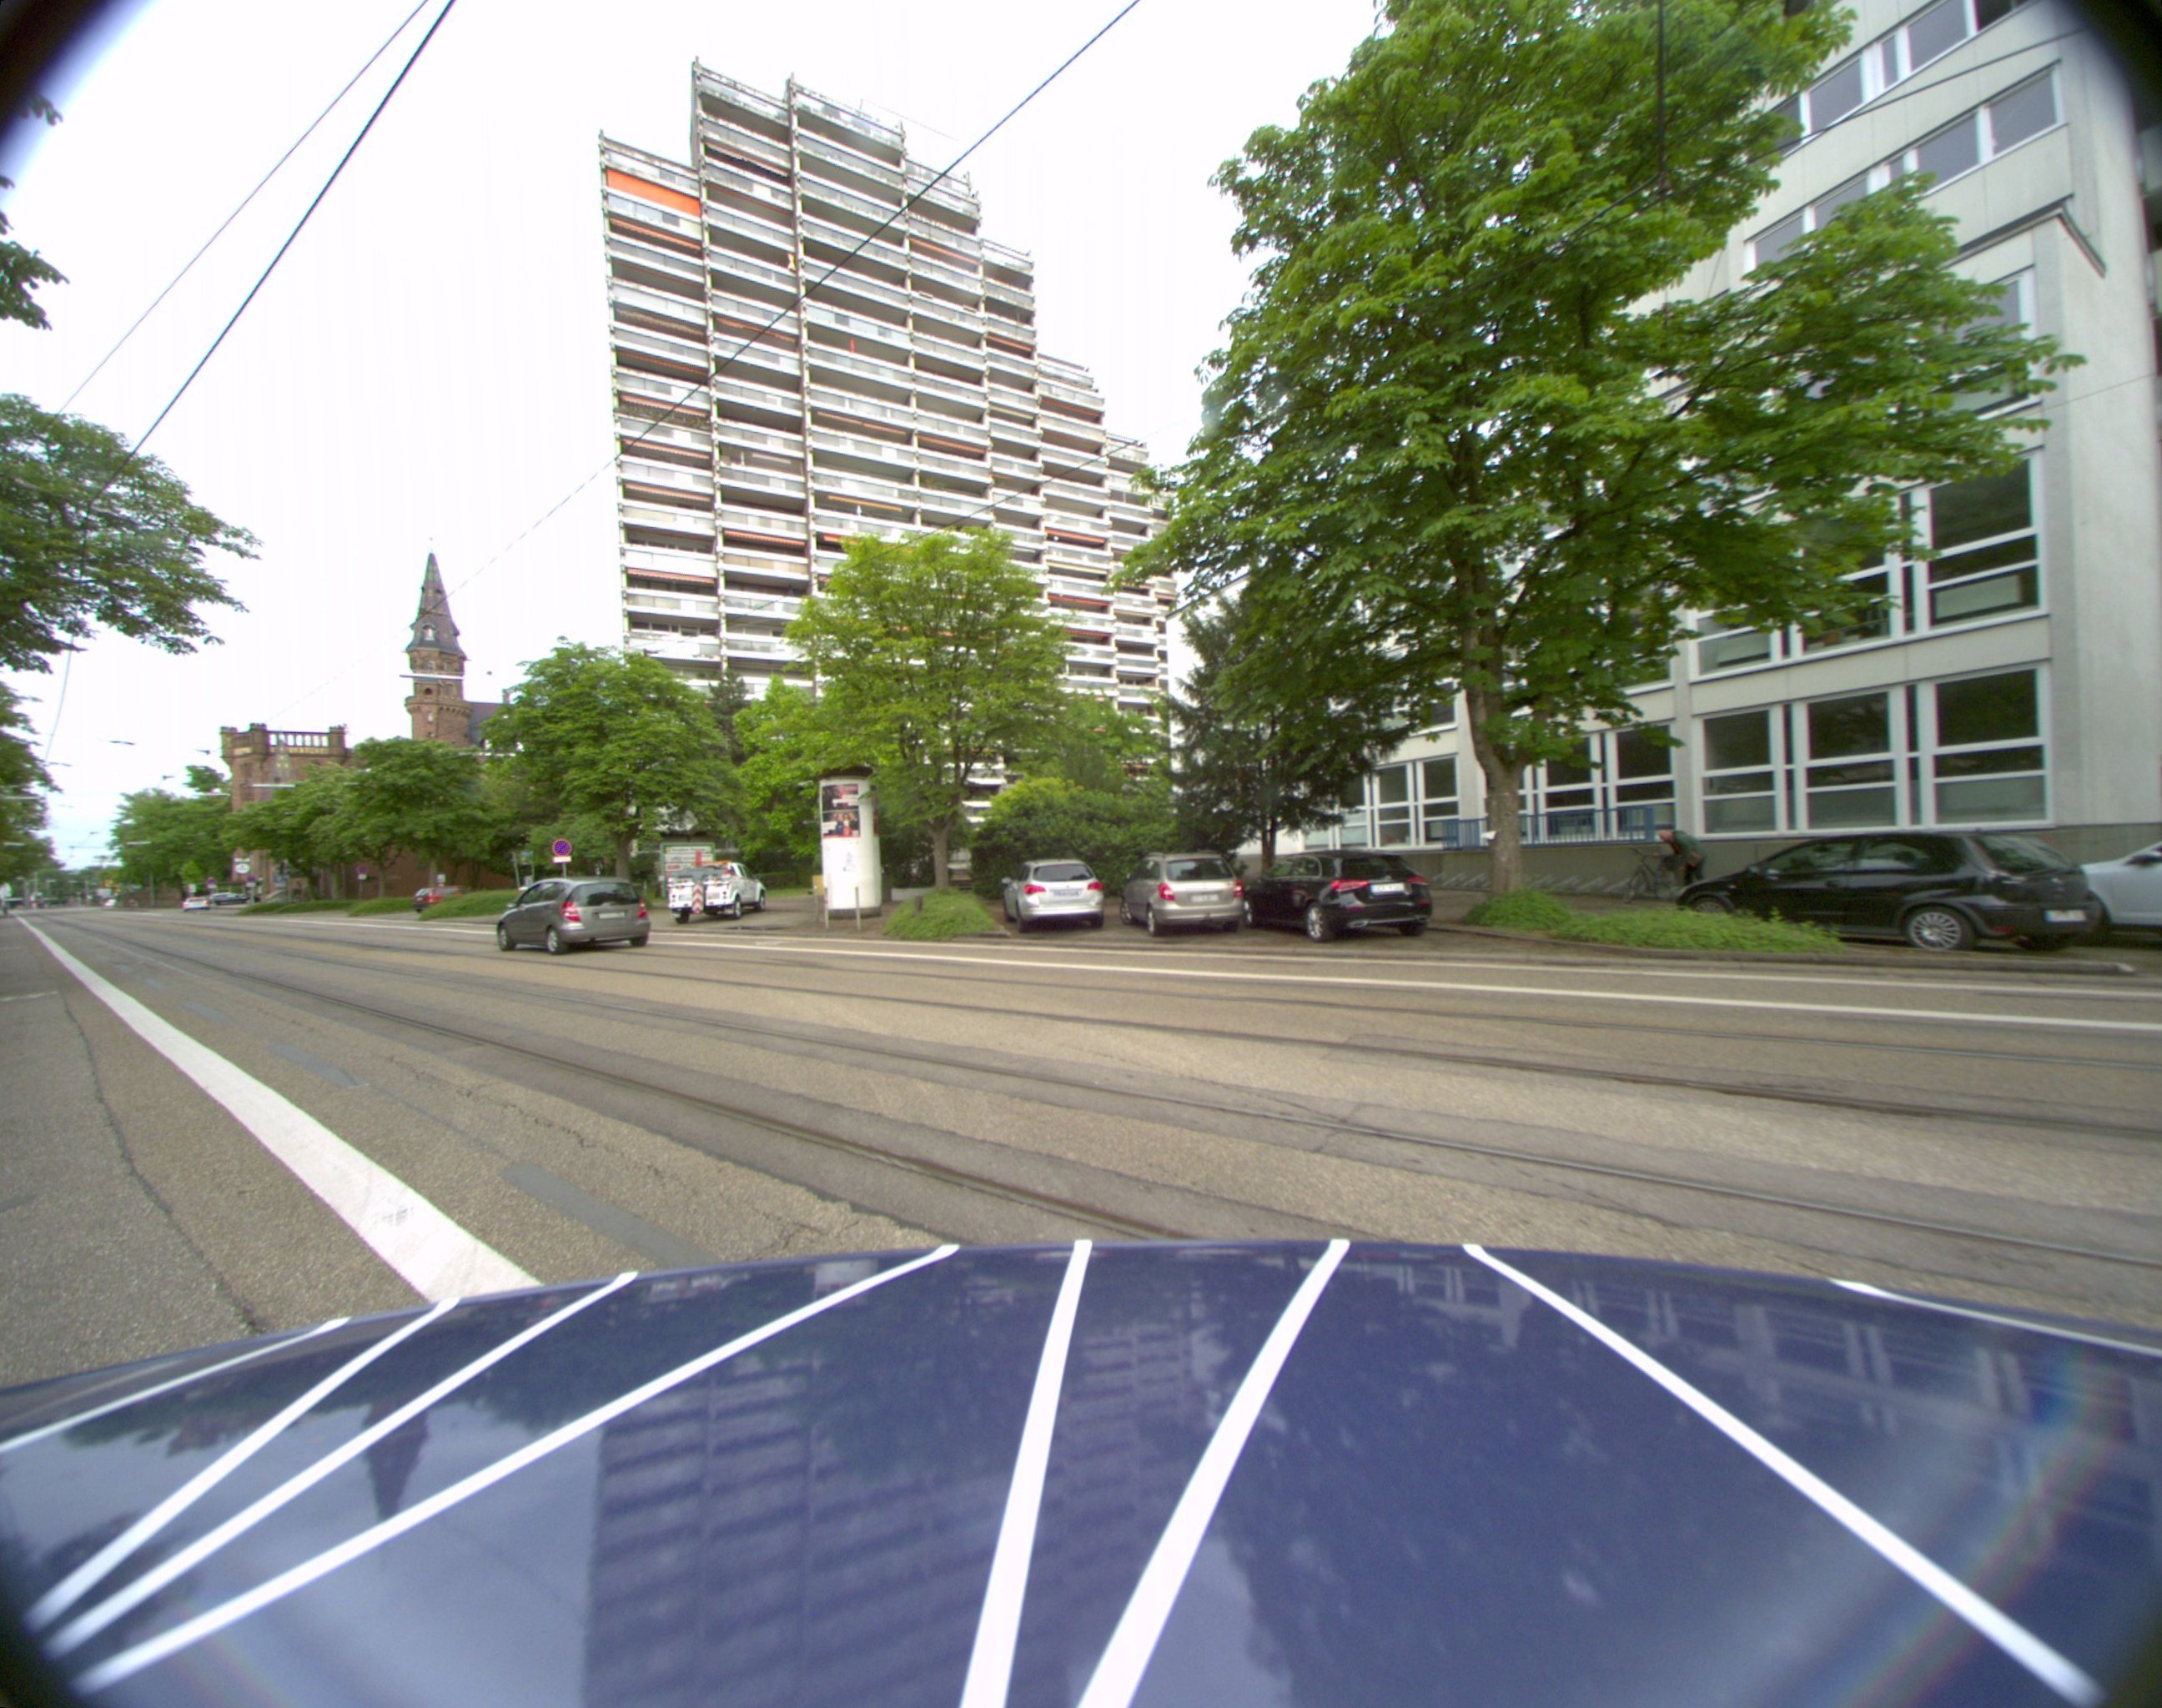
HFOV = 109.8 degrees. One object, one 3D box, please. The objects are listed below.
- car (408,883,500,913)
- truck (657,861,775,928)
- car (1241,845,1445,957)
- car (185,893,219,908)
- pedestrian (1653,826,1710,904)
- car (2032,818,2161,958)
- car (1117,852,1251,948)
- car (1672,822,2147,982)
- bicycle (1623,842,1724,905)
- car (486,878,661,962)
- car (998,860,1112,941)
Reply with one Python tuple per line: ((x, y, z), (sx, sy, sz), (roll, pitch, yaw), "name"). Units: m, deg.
((-34.479, 2.414, 41.887), (1.631, 1.369, 3.508), (-2, 1, 22), "car")
((-11.890, 1.214, 25.163), (2.000, 1.838, 5.060), (-3, 0, -8), "truck")
((4.222, 0.664, 12.887), (1.700, 1.515, 3.703), (-3, 1, -8), "car")
((-95.216, 5.060, 82.321), (3.989, 1.521, 2.004), (-3, 0, 35), "car")
((12.908, 0.227, 16.329), (0.735, 1.603, 0.753), (-4, 3, -33), "pedestrian")
((12.578, 0.362, 7.325), (1.699, 1.476, 4.027), (-3, 1, -2), "car")
((1.860, 0.774, 14.792), (1.573, 1.515, 3.648), (-3, 1, -8), "car")
((9.909, 0.465, 9.570), (1.700, 1.515, 3.703), (-3, 1, -8), "car")
((12.409, 0.416, 15.942), (0.407, 1.260, 1.591), (-2, 0, -45), "bicycle")
((-10.934, 1.349, 16.320), (3.744, 1.521, 1.910), (-3, 0, 36), "car")
((-0.742, 0.919, 17.068), (1.804, 1.456, 4.427), (-3, 1, -11), "car")
